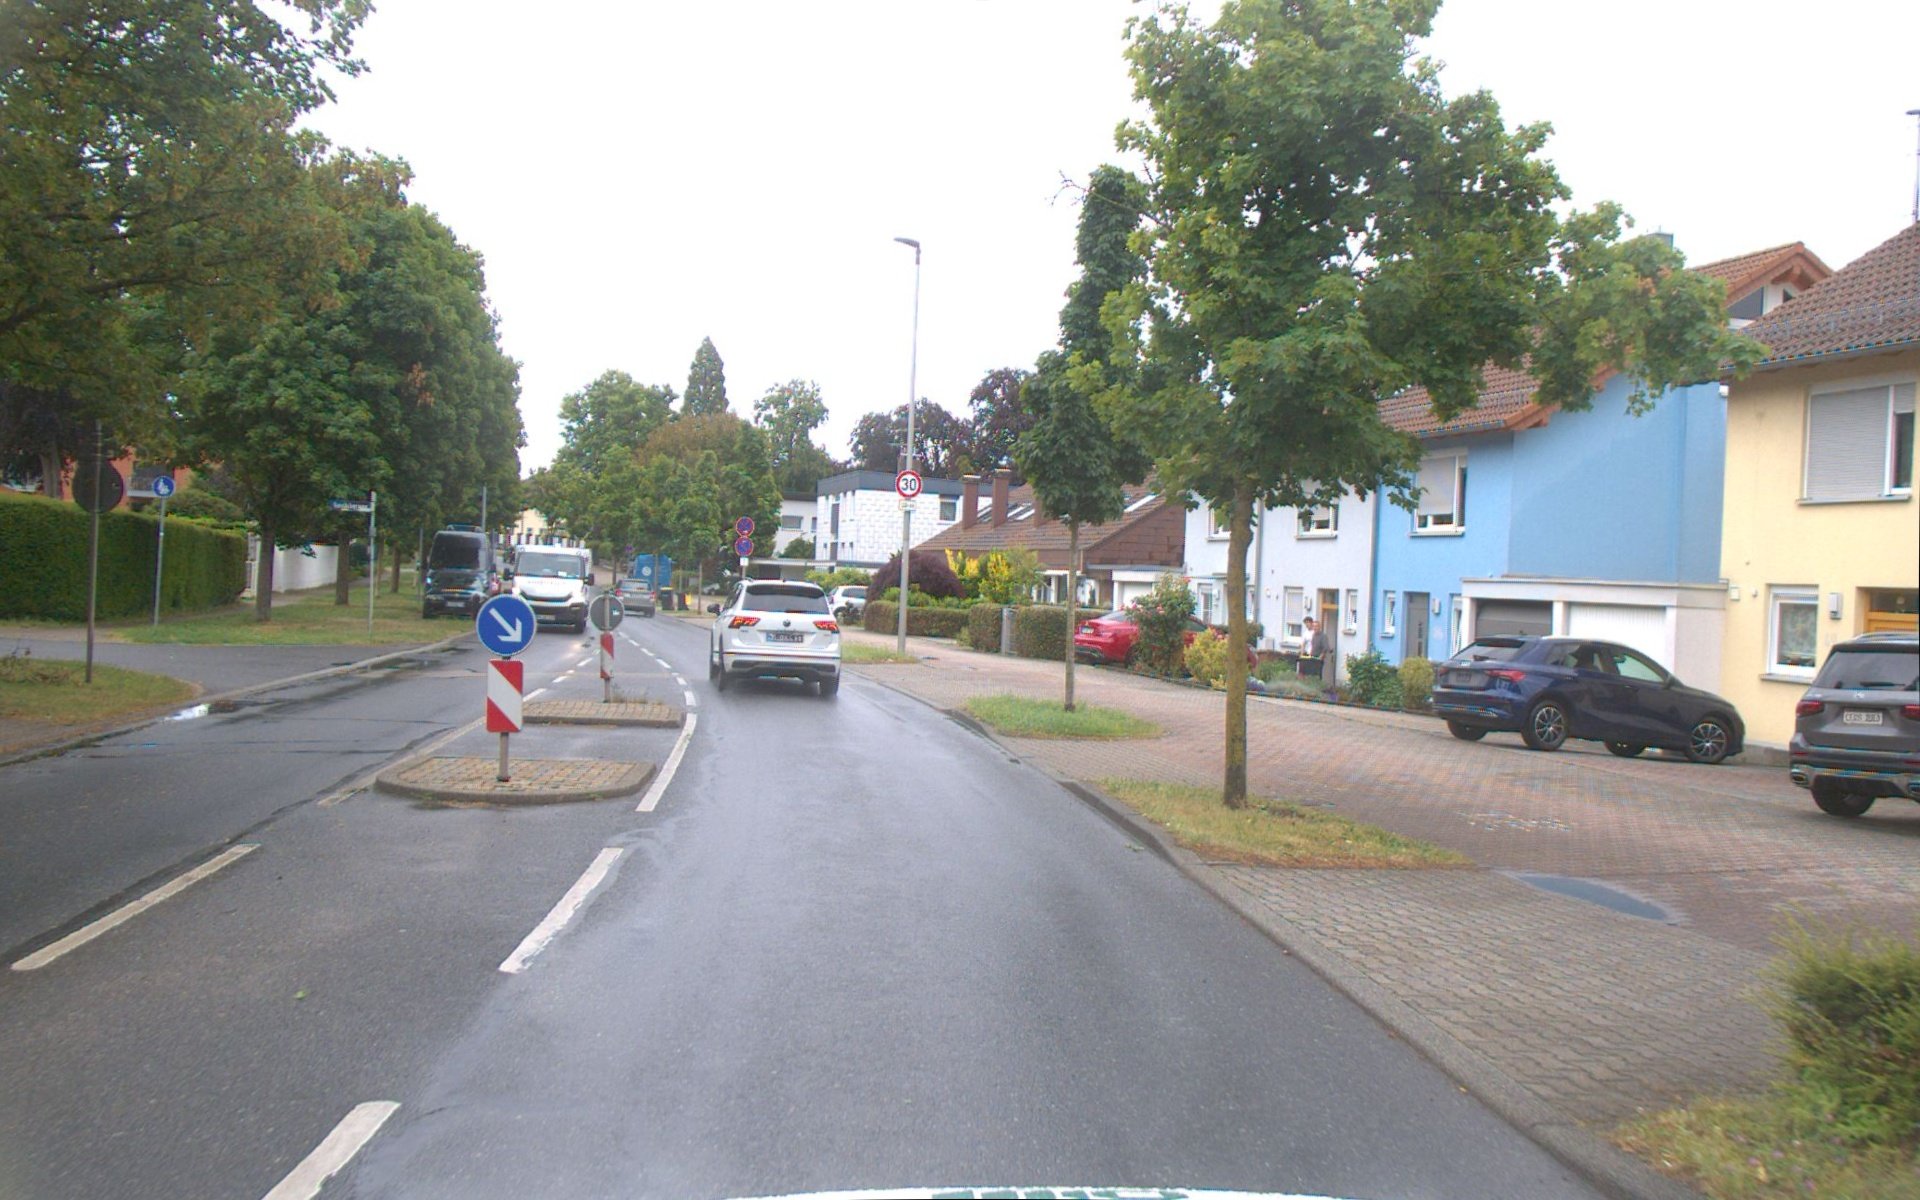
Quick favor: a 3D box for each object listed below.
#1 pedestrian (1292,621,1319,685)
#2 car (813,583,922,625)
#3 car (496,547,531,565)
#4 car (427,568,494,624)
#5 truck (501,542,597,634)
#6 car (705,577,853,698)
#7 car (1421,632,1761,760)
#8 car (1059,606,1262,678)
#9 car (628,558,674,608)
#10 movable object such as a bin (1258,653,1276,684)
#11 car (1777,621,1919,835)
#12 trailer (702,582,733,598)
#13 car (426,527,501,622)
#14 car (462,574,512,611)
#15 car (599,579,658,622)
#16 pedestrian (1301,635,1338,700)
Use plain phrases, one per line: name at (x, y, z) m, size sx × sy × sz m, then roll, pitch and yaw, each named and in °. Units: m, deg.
pedestrian at (7.635, 1.161, 36.555) m, size 0.485 × 1.374 × 0.565 m, roll 3°, pitch 0°, yaw 7°
car at (-3.633, 0.167, 65.028) m, size 3.924 × 1.467 × 1.838 m, roll 3°, pitch 0°, yaw -18°
car at (-42.088, -4.154, 155.894) m, size 1.631 × 1.452 × 3.946 m, roll 4°, pitch 1°, yaw -39°
car at (-14.183, -0.130, 47.079) m, size 1.695 × 1.433 × 3.809 m, roll 3°, pitch 0°, yaw -16°
truck at (-11.364, -0.332, 46.149) m, size 2.178 × 2.242 × 6.446 m, roll 4°, pitch 0°, yaw -11°
car at (-2.901, 0.539, 25.787) m, size 1.832 × 1.679 × 3.988 m, roll 2°, pitch 0°, yaw -12°
car at (8.173, 1.237, 21.460) m, size 3.925 × 1.411 × 1.666 m, roll 3°, pitch 0°, yaw -18°
car at (4.490, 0.946, 36.973) m, size 4.250 × 1.282 × 1.666 m, roll 4°, pitch 0°, yaw -26°
car at (-16.997, -0.960, 90.930) m, size 1.961 × 2.631 × 5.610 m, roll 1°, pitch 1°, yaw -16°
movable object such as a bin at (6.486, 1.443, 34.948) m, size 0.251 × 0.637 × 0.324 m, roll 3°, pitch 0°, yaw -15°
car at (9.561, 1.231, 14.794) m, size 4.123 × 1.700 × 1.710 m, roll 5°, pitch -1°, yaw -23°
trailer at (-16.803, -0.689, 114.718) m, size 2.007 × 0.898 × 1.360 m, roll 4°, pitch 0°, yaw -13°
car at (-16.047, -0.846, 53.712) m, size 1.961 × 2.776 × 5.914 m, roll 4°, pitch 0°, yaw -15°
car at (-20.384, -0.339, 71.327) m, size 1.961 × 1.428 × 4.537 m, roll 3°, pitch 0°, yaw -16°
car at (-13.385, -0.009, 66.685) m, size 1.742 × 1.578 × 3.978 m, roll 3°, pitch 0°, yaw -19°
pedestrian at (7.829, 1.459, 36.010) m, size 0.529 × 1.374 × 0.524 m, roll 3°, pitch 0°, yaw -29°
